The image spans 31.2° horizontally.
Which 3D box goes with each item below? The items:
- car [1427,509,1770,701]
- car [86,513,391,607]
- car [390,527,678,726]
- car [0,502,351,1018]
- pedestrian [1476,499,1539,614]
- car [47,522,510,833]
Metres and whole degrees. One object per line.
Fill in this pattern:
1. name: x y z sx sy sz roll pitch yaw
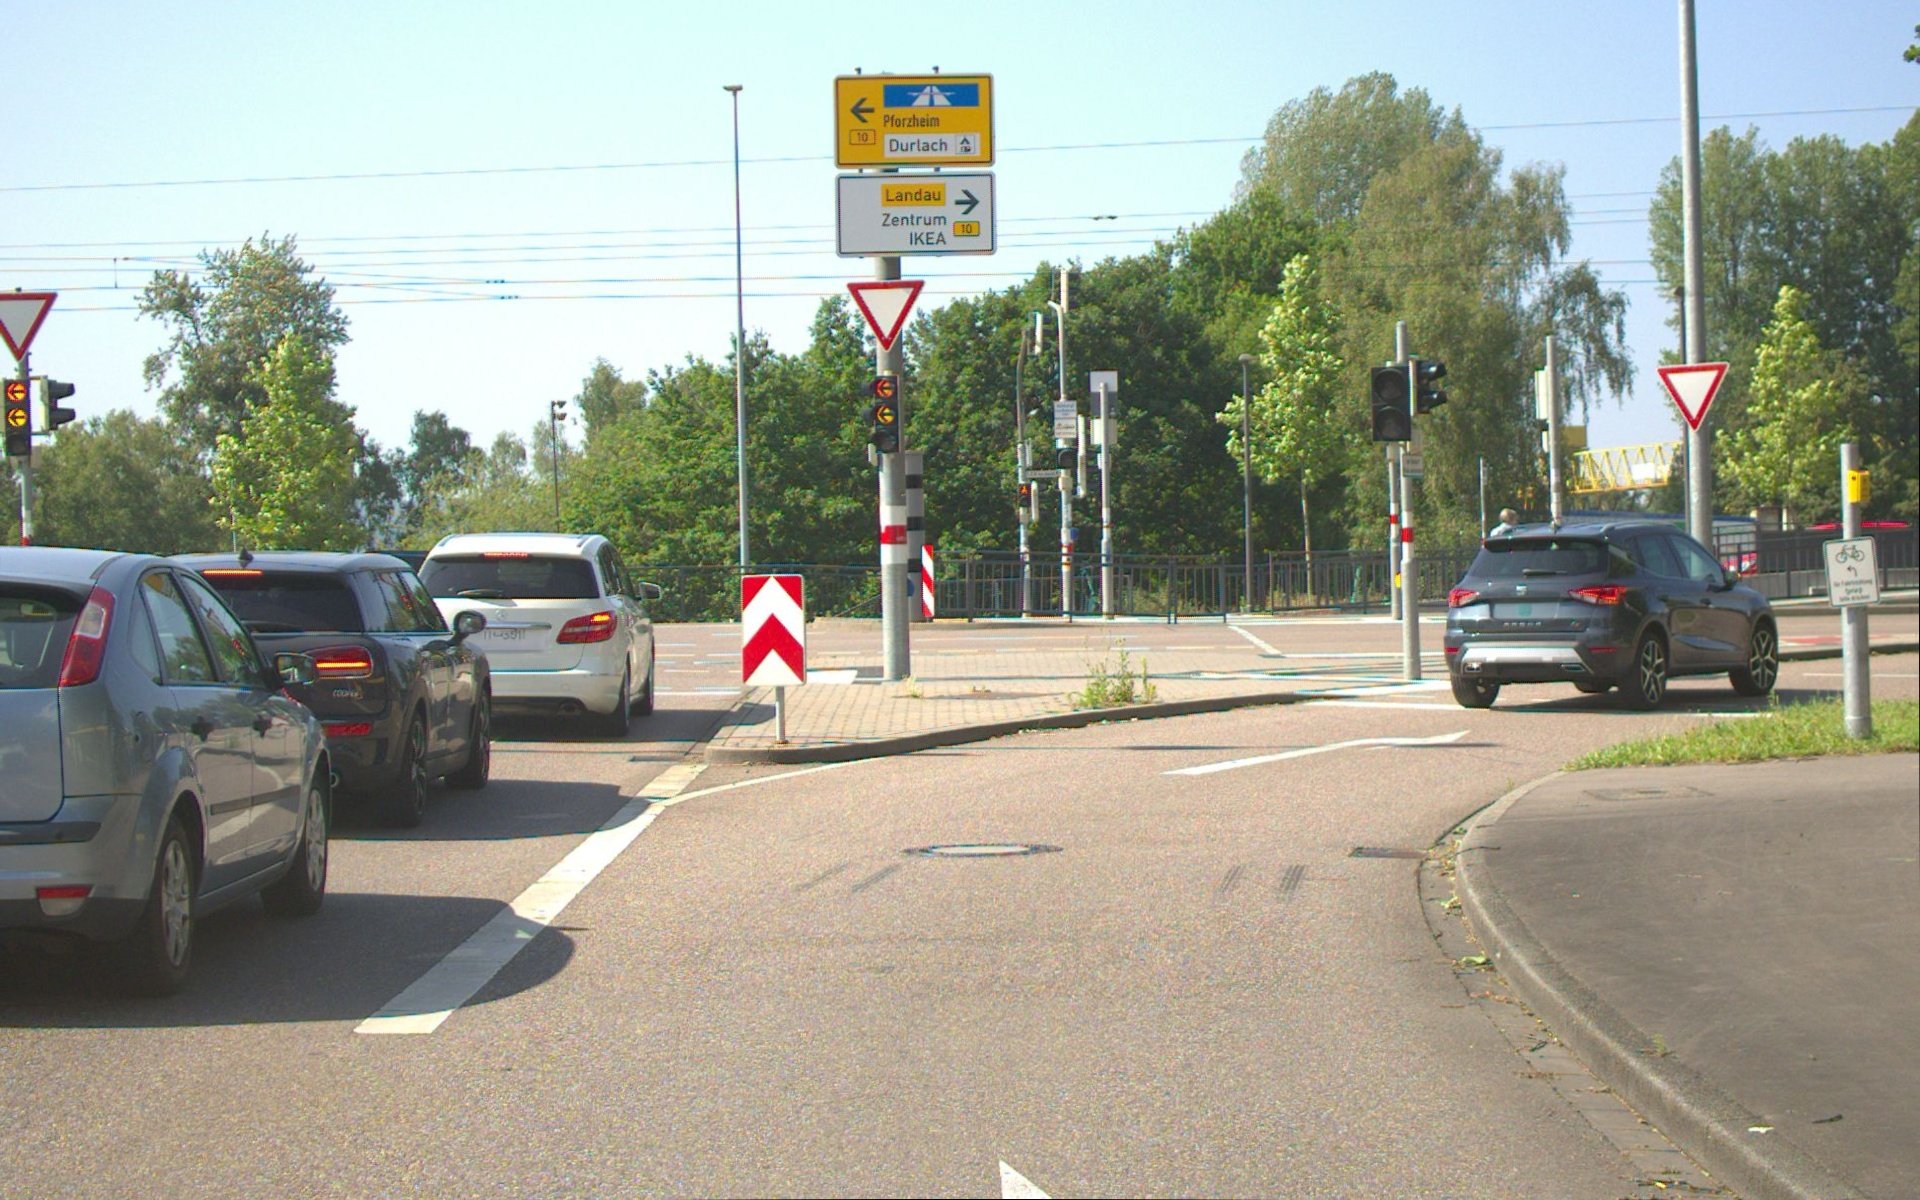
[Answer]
1. car: 5.444 0.013 29.039 1.673 1.518 3.370 0 1 33
2. car: -12.679 -0.720 60.557 4.799 1.498 2.065 -2 2 -35
3. car: -3.307 0.153 27.409 1.741 1.443 4.389 -1 1 0
4. car: -3.400 0.458 12.541 1.706 1.568 4.174 -1 1 -2
5. pedestrian: 7.385 -0.594 46.339 0.773 1.505 1.007 -1 2 11
6. car: -3.695 0.348 19.364 1.737 1.506 4.201 -2 1 0
